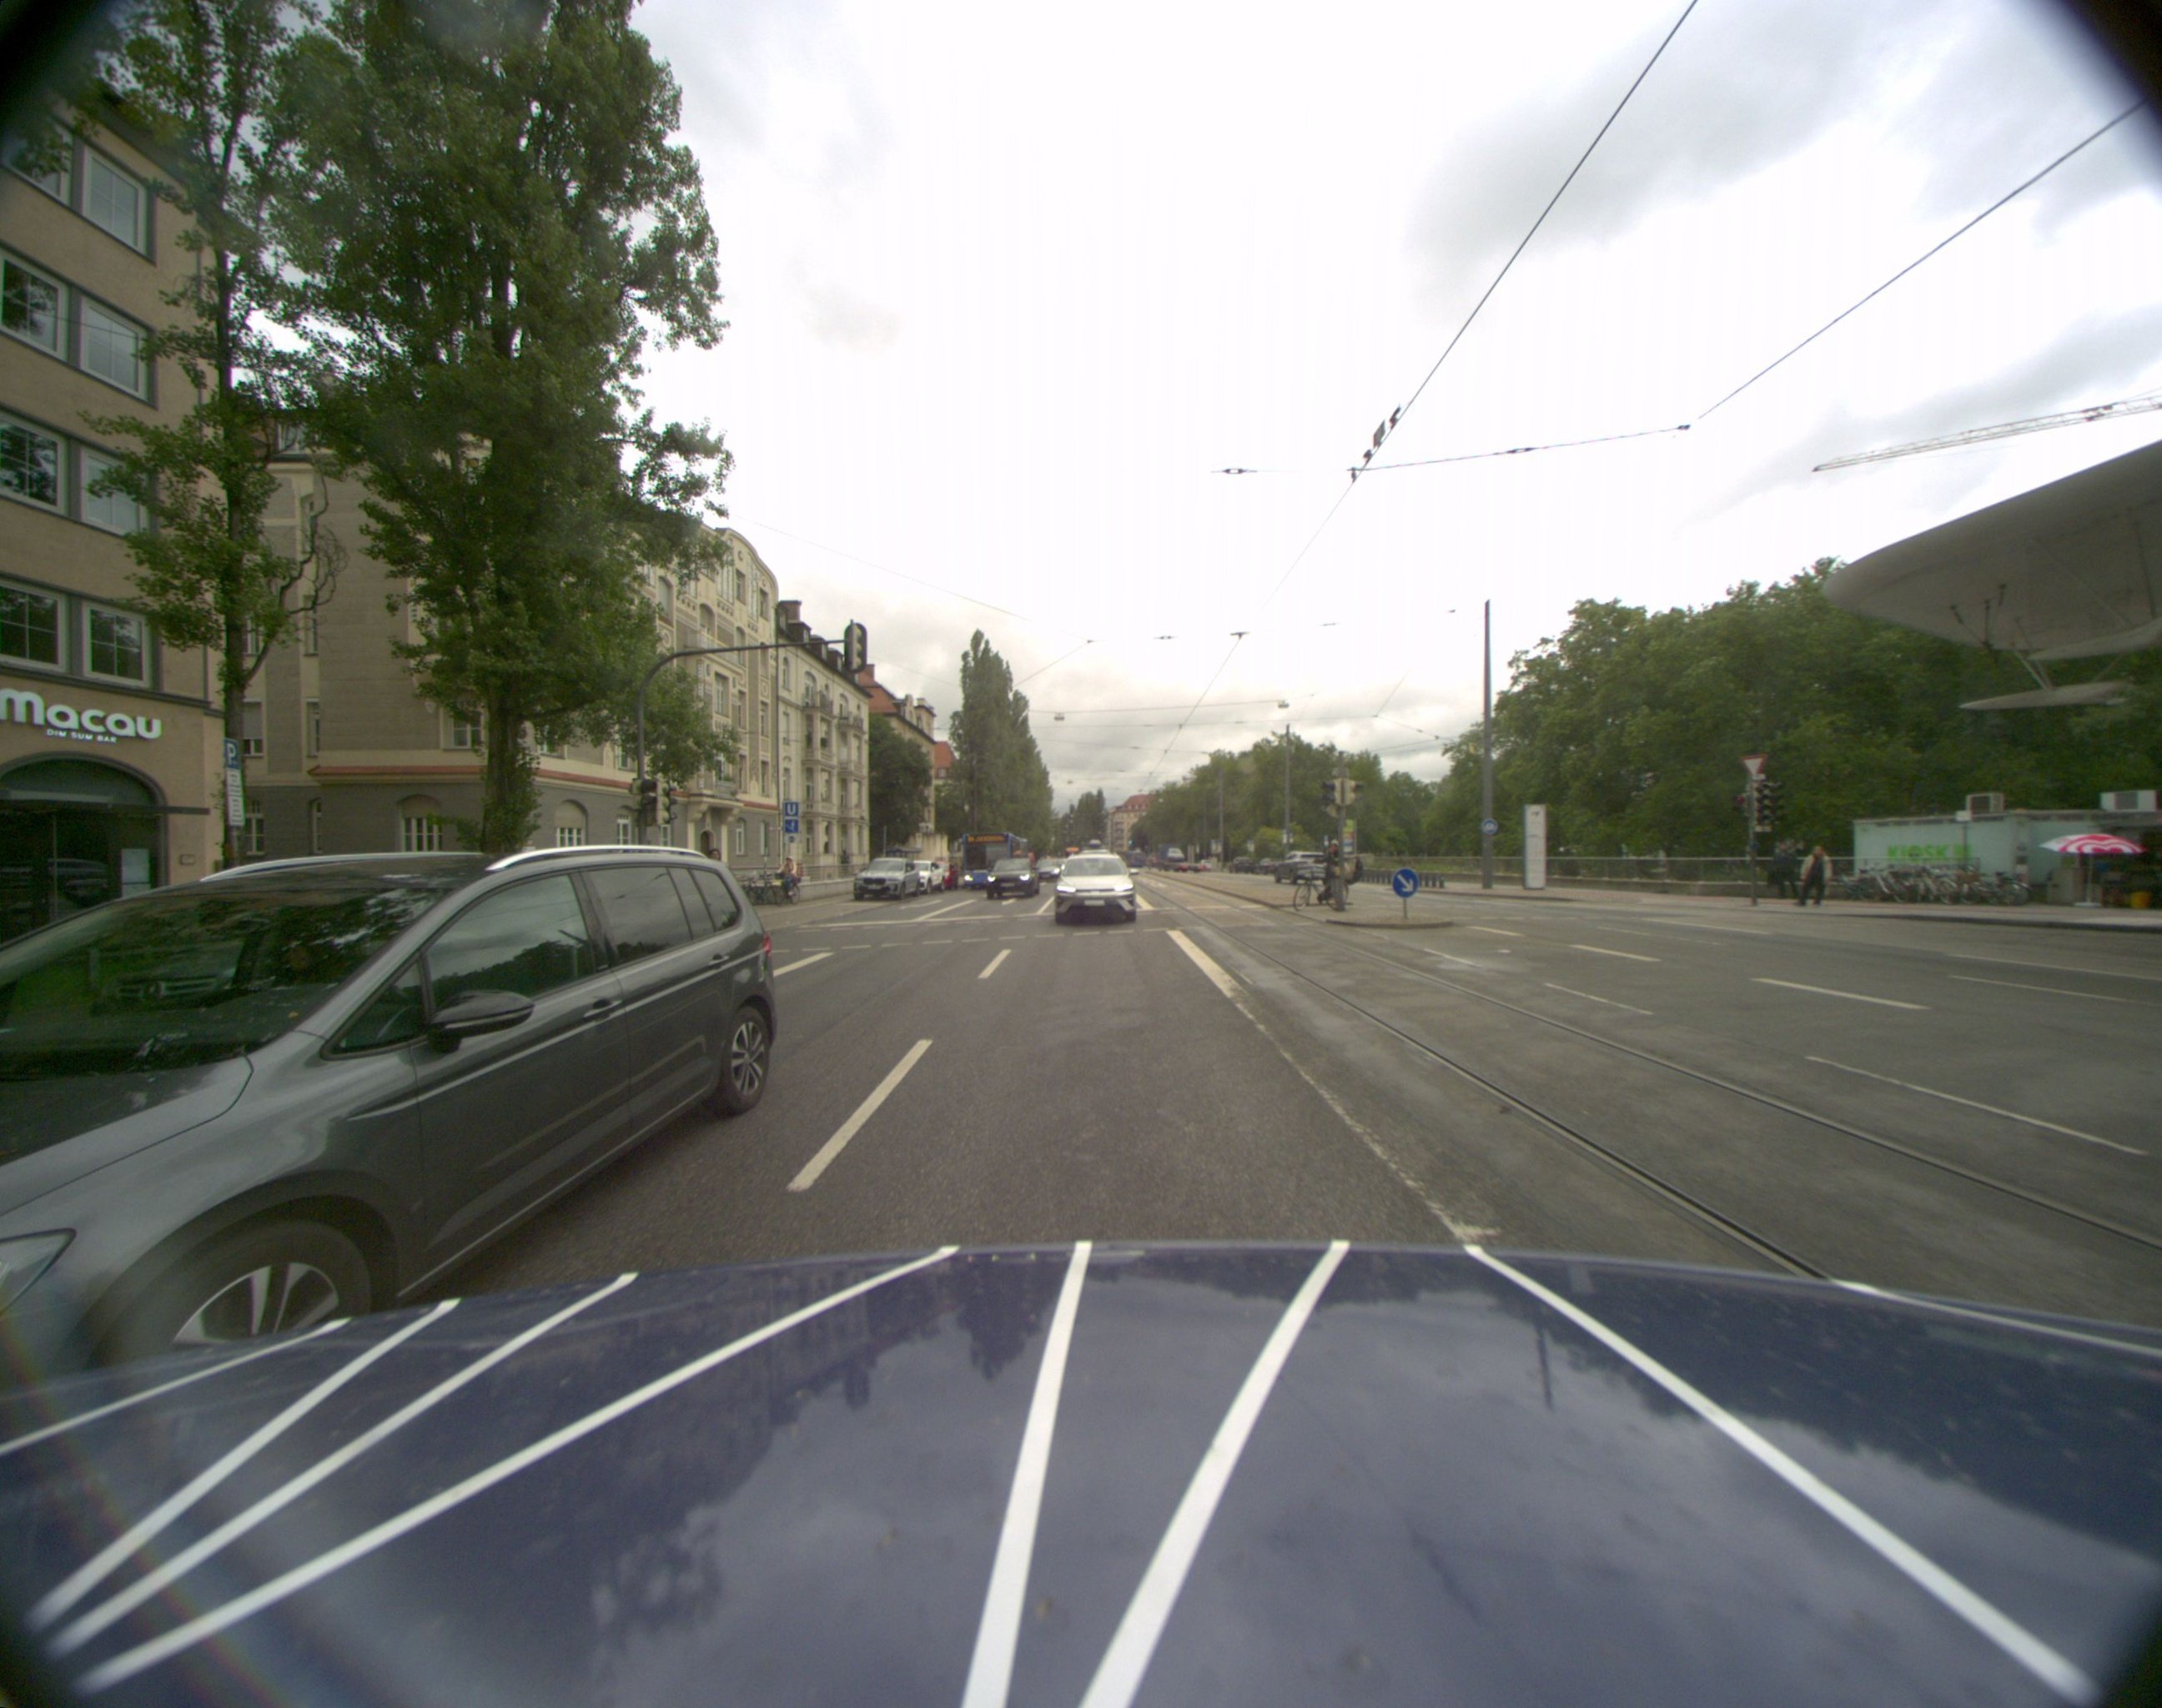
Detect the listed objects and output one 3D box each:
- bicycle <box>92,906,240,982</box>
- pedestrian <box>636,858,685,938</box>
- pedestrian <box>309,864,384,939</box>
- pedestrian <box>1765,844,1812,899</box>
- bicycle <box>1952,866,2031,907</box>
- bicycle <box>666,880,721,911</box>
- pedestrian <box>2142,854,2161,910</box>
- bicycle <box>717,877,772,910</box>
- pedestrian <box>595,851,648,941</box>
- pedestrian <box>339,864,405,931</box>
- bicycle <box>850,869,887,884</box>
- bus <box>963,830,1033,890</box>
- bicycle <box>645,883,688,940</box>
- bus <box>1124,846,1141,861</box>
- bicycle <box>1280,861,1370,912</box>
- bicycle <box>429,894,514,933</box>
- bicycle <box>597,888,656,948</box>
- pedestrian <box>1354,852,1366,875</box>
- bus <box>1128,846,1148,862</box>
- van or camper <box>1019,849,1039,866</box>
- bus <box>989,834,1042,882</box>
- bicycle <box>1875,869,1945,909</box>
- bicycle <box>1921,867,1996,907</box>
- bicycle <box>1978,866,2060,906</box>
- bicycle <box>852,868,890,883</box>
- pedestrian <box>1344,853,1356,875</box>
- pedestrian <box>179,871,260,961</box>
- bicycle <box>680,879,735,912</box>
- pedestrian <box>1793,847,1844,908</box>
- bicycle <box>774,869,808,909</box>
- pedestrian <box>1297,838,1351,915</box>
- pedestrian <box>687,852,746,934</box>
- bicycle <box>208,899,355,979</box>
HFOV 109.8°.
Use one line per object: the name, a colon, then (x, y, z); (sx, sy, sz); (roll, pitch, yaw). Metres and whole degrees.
bicycle: (-14.195, 1.386, 11.800); (1.801, 1.103, 0.447); (-1, 1, 3)
pedestrian: (-8.963, 0.919, 16.189); (0.758, 1.628, 0.699); (-1, 0, -42)
pedestrian: (-17.154, 1.094, 17.772); (0.748, 1.675, 1.017); (0, 1, 1)
pedestrian: (22.346, 0.550, 24.004); (0.735, 1.706, 0.861); (0, 1, 12)
bicycle: (26.607, 0.926, 22.240); (0.479, 1.090, 1.851); (0, 0, 15)
bicycle: (-13.684, 1.460, 26.879); (0.391, 0.972, 1.842); (-1, 1, 28)
pedestrian: (31.052, 0.784, 21.578); (0.739, 1.591, 0.798); (0, 1, 16)
bicycle: (-11.832, 1.379, 26.769); (0.445, 1.017, 1.842); (-1, 1, 28)
pedestrian: (-9.354, 0.832, 15.472); (0.699, 1.770, 0.652); (-1, 0, 35)
pedestrian: (-18.595, 1.121, 19.958); (0.748, 1.704, 1.017); (0, 1, 1)
bicycle: (-14.066, 1.469, 50.301); (2.325, 0.916, 0.586); (-2, 1, -11)
bus: (-4.548, 0.299, 43.589); (2.637, 2.956, 9.466); (-2, 0, 1)
bicycle: (-8.815, 1.194, 16.120); (0.360, 1.096, 1.740); (-1, 1, -43)
bus: (10.700, -0.023, 158.670); (2.632, 2.949, 12.844); (1, 0, -1)
bicycle: (6.032, 0.786, 18.743); (2.233, 1.144, 0.505); (-2, 2, -19)
bicycle: (-13.992, 1.364, 17.462); (1.576, 0.830, 0.392); (-2, 1, -2)
bicycle: (-9.251, 1.271, 15.427); (1.740, 1.096, 0.360); (0, 1, 36)
pedestrian: (19.373, 0.662, 52.739); (0.632, 1.549, 0.589); (0, 1, 0)
bus: (10.805, 0.020, 145.536); (2.632, 2.949, 13.414); (1, 0, -1)
van or camper: (-6.459, 0.410, 94.816); (2.124, 2.086, 5.513); (0, 0, 0)
bus: (-4.382, 0.257, 52.588); (2.637, 2.956, 8.534); (-2, 0, 1)
bicycle: (24.677, 1.010, 22.666); (0.479, 1.090, 1.851); (0, 0, 15)
bicycle: (25.887, 0.957, 22.450); (0.479, 1.090, 1.851); (0, 0, 15)
bicycle: (27.158, 0.903, 22.043); (0.479, 1.090, 1.851); (0, 0, 15)
bicycle: (-14.095, 1.468, 51.016); (2.323, 0.916, 0.640); (-2, 1, -2)
pedestrian: (18.649, 0.698, 52.698); (0.632, 1.549, 0.589); (0, 1, 0)
pedestrian: (-16.109, 1.124, 14.212); (0.847, 1.593, 0.824); (0, 1, 30)
bicycle: (-13.139, 1.436, 26.780); (0.391, 1.017, 1.842); (-1, 1, 28)
pedestrian: (19.959, 0.626, 20.575); (0.739, 1.619, 0.741); (-1, 1, -20)
bicycle: (-10.070, 1.201, 26.476); (0.424, 1.281, 1.778); (-1, 1, 2)
pedestrian: (5.946, 0.522, 18.601); (0.862, 1.801, 0.895); (-2, 2, -27)
pedestrian: (-8.207, 0.864, 17.128); (0.881, 1.791, 0.757); (-1, 0, 12)
bicycle: (-12.375, 1.306, 11.776); (1.801, 1.103, 0.447); (-3, 1, 3)
